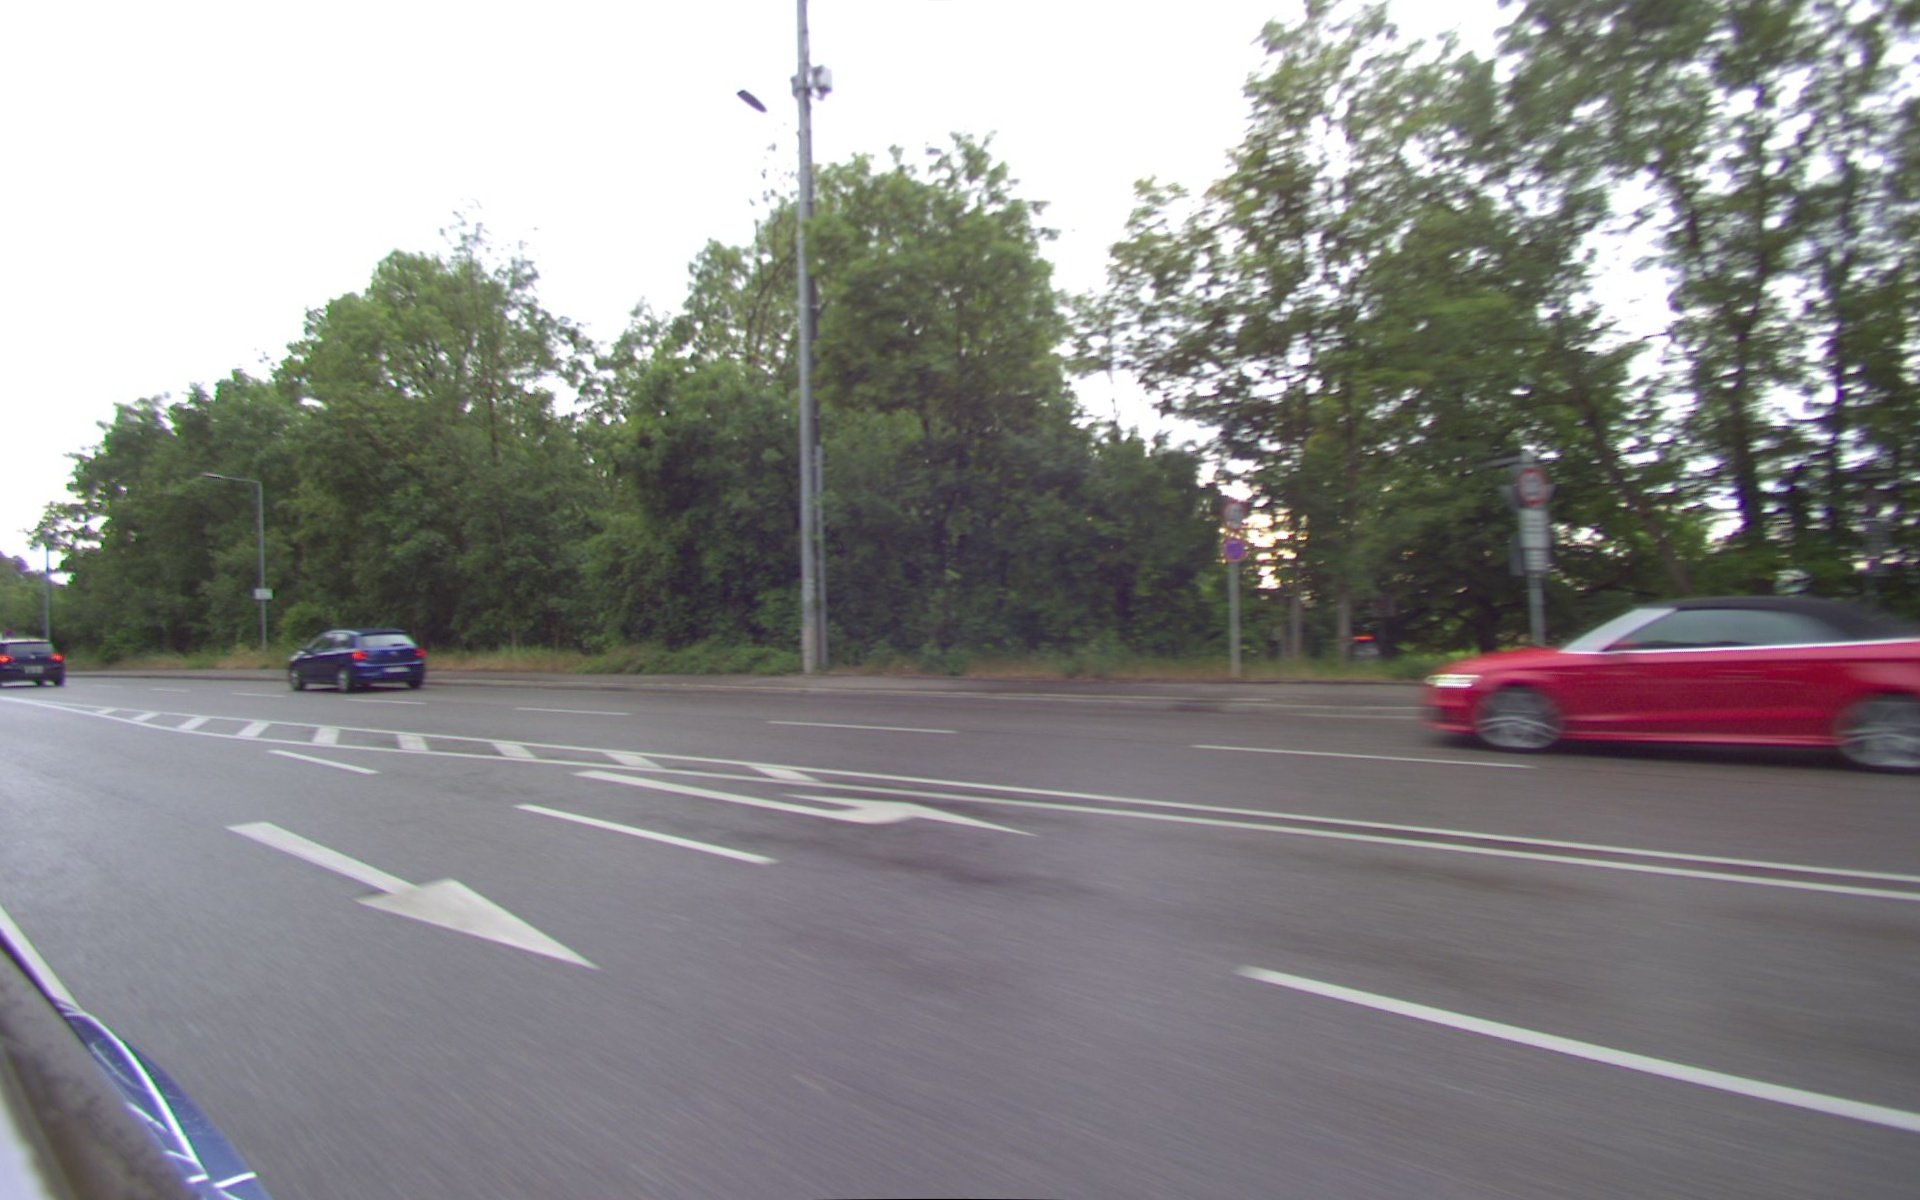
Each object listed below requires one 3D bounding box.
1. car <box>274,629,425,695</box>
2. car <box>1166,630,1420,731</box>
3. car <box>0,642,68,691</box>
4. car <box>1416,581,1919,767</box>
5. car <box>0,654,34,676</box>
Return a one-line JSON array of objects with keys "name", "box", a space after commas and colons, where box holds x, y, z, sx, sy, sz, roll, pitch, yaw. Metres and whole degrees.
[{"name": "car", "box": [-14.406, 1.421, 23.821, 3.991, 1.405, 1.617, -2, -2, 36]}, {"name": "car", "box": [7.148, 1.849, 22.407, 2.073, 1.961, 5.175, 1, -7, -30]}, {"name": "car", "box": [-29.831, 2.080, 31.864, 4.068, 1.438, 1.686, -2, -3, 35]}, {"name": "car", "box": [6.659, 0.594, 9.094, 4.375, 1.384, 1.859, -2, -1, 36]}, {"name": "car", "box": [-81.408, 5.507, 85.439, 1.895, 1.730, 4.688, -3, -1, 45]}]
